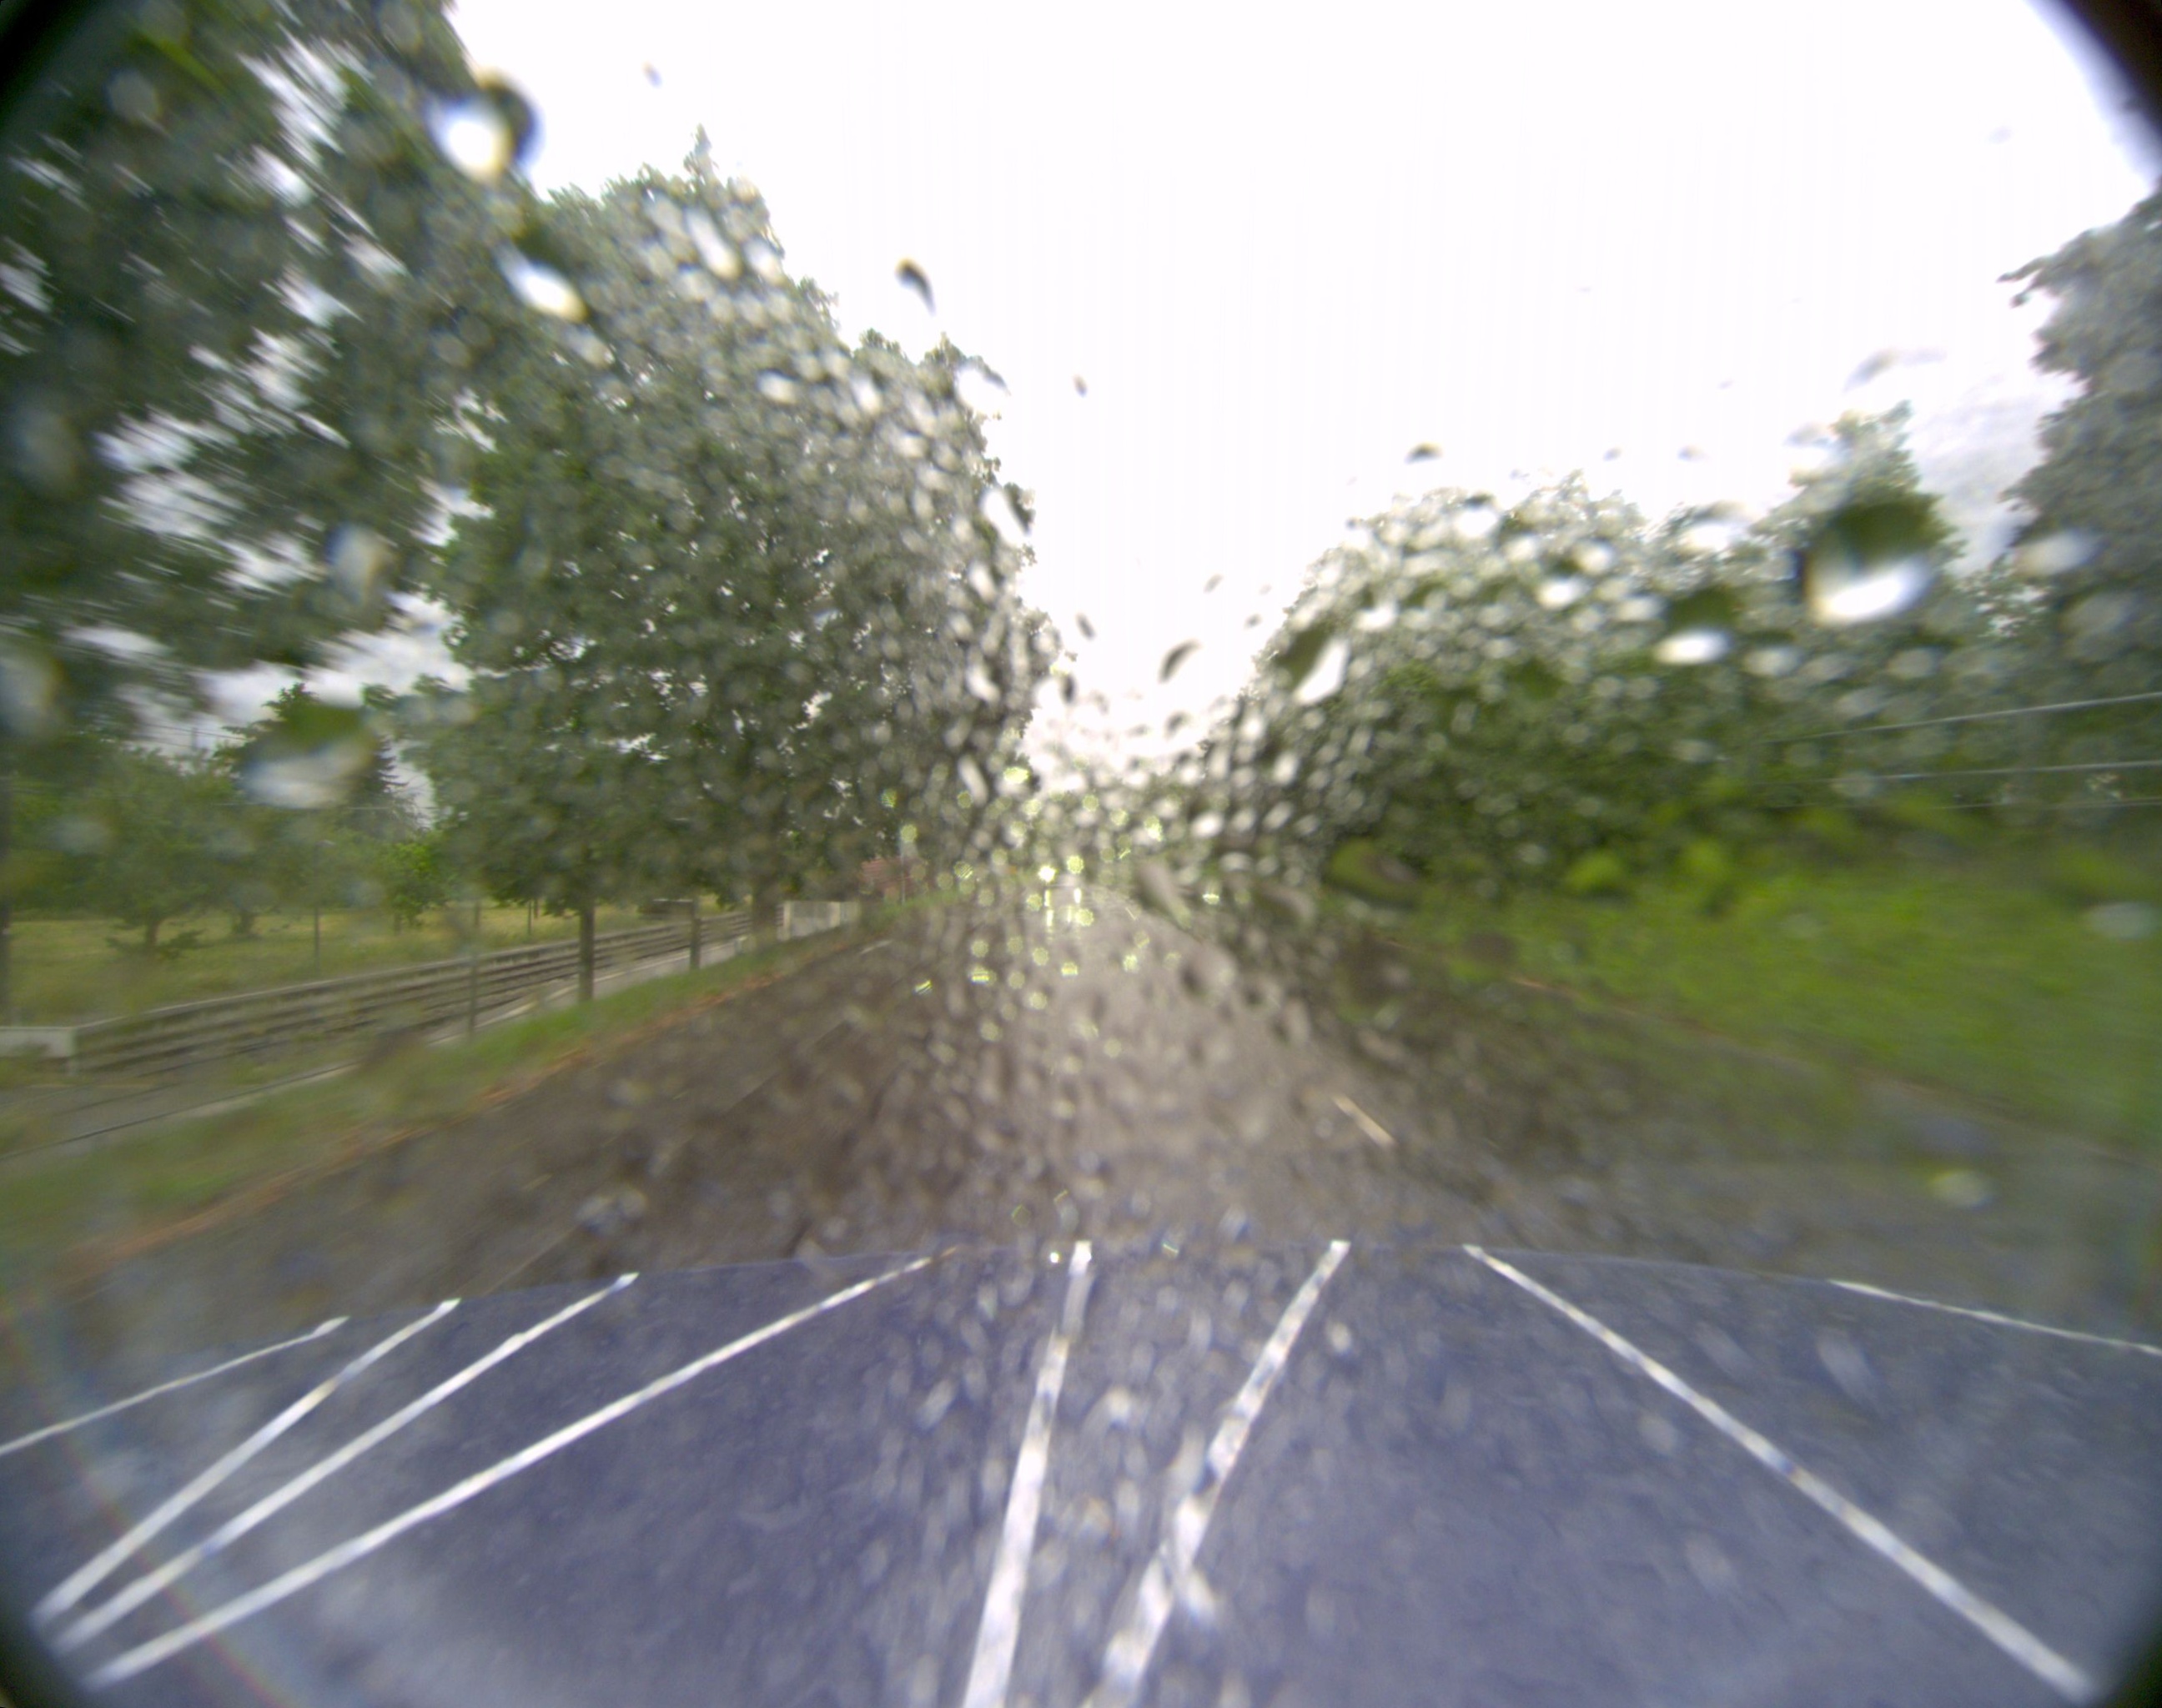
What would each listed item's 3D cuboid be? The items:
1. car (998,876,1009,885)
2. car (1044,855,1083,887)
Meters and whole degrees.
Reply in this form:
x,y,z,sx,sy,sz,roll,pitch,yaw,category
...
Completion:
x,y,z,sx,sy,sz,roll,pitch,yaw,category
-17.997,6.160,176.225,2.001,2.001,3.996,1,-1,-12,car
-0.885,0.848,37.514,1.765,1.477,3.791,2,-2,-2,car
